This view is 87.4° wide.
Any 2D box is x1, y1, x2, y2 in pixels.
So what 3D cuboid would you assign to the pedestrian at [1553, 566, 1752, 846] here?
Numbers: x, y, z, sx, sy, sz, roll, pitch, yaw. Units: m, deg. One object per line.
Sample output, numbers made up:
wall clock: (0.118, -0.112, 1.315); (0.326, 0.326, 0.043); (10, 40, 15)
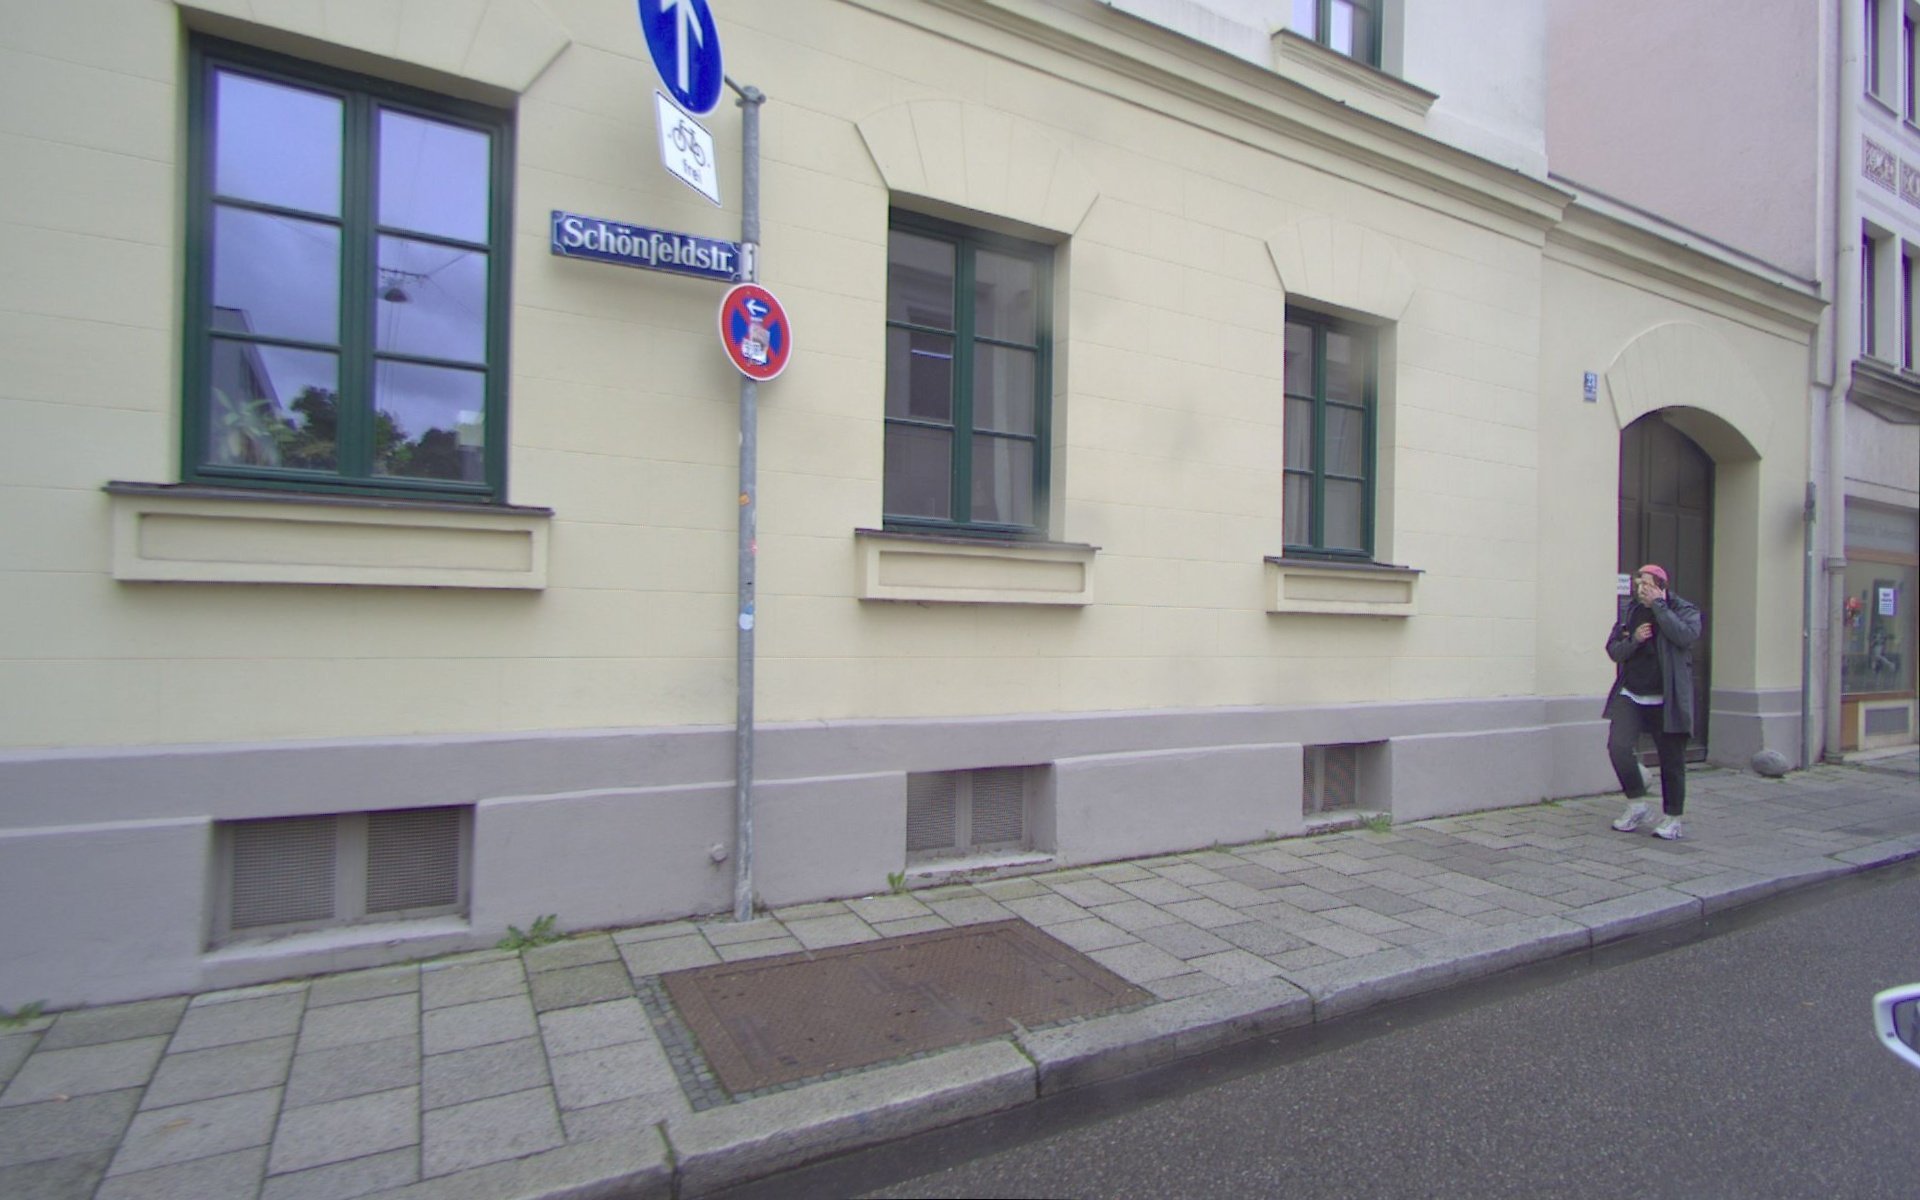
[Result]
pedestrian: (4.800, 0.672, 6.977); (0.979, 1.779, 0.805); (0, 1, -32)
